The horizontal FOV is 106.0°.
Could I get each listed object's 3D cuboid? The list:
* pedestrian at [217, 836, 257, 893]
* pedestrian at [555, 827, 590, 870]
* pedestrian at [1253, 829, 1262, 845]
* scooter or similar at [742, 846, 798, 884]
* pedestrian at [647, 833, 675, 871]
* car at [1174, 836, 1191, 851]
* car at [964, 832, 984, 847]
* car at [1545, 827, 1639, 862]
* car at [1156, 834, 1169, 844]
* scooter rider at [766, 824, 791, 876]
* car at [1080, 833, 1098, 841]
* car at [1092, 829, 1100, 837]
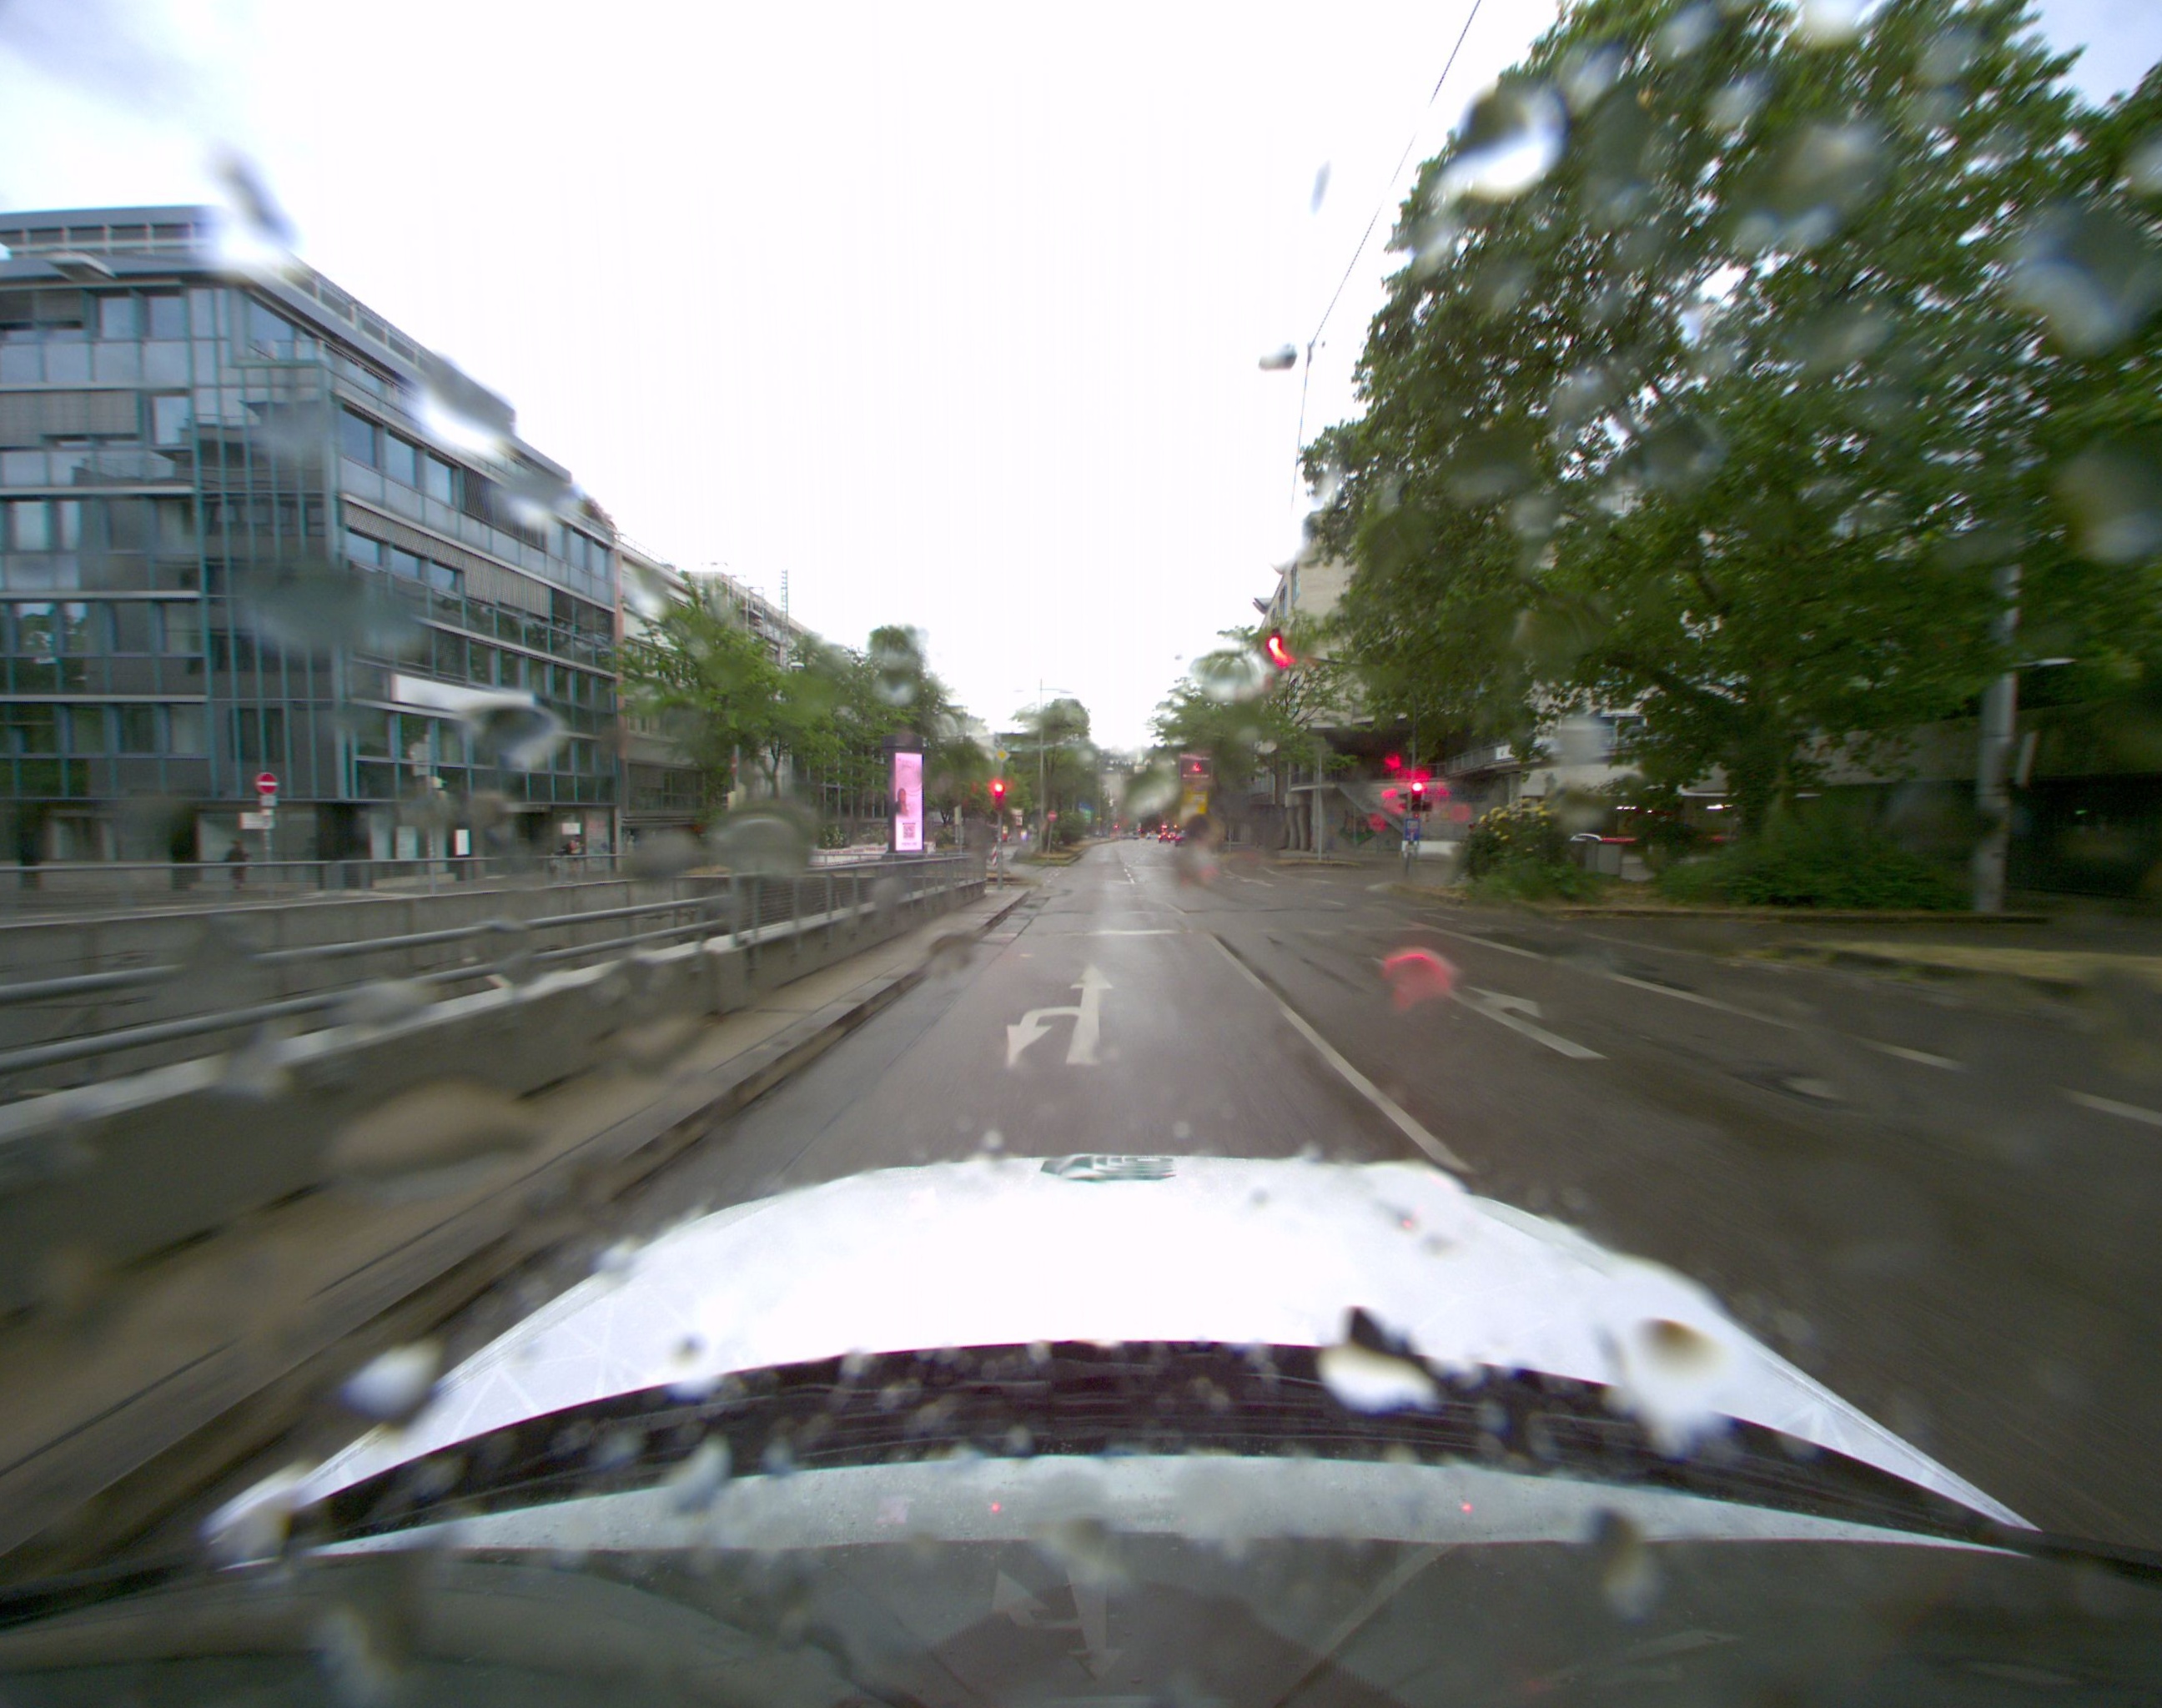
[{"bbox_3d":[-25.292,0.304,24.406,0.662,1.671,0.488,0,0,1],"label":"pedestrian"},{"bbox_3d":[-22.508,-0.267,36.061,0.857,1.868,0.964,1,1,20],"label":"pedestrian"},{"bbox_3d":[16.718,-1.603,77.260,0.782,1.557,0.534,1,0,6],"label":"pedestrian"},{"bbox_3d":[-11.898,0.414,31.174,1.954,1.418,0.544,0,1,-18],"label":"scooter or similar"},{"bbox_3d":[-21.183,-0.111,41.081,0.873,1.868,0.867,1,1,2],"label":"pedestrian"},{"bbox_3d":[11.779,-1.251,94.366,1.892,1.684,3.917,1,1,6],"label":"car"},{"bbox_3d":[-12.386,-1.665,94.611,1.774,1.555,3.895,1,3,1],"label":"car"},{"bbox_3d":[25.175,-0.458,40.125,4.362,1.684,1.738,0,1,-23],"label":"car"},{"bbox_3d":[12.647,-2.262,127.172,1.739,1.519,4.109,1,1,2],"label":"car"},{"bbox_3d":[-11.633,-0.148,31.322,0.822,1.948,0.806,1,1,-18],"label":"scooter rider"},{"bbox_3d":[1.815,-3.903,190.125,4.048,1.904,1.951,1,0,-5],"label":"car"},{"bbox_3d":[4.355,-6.139,235.514,2.118,2.164,5.204,1,1,4],"label":"car"}]
